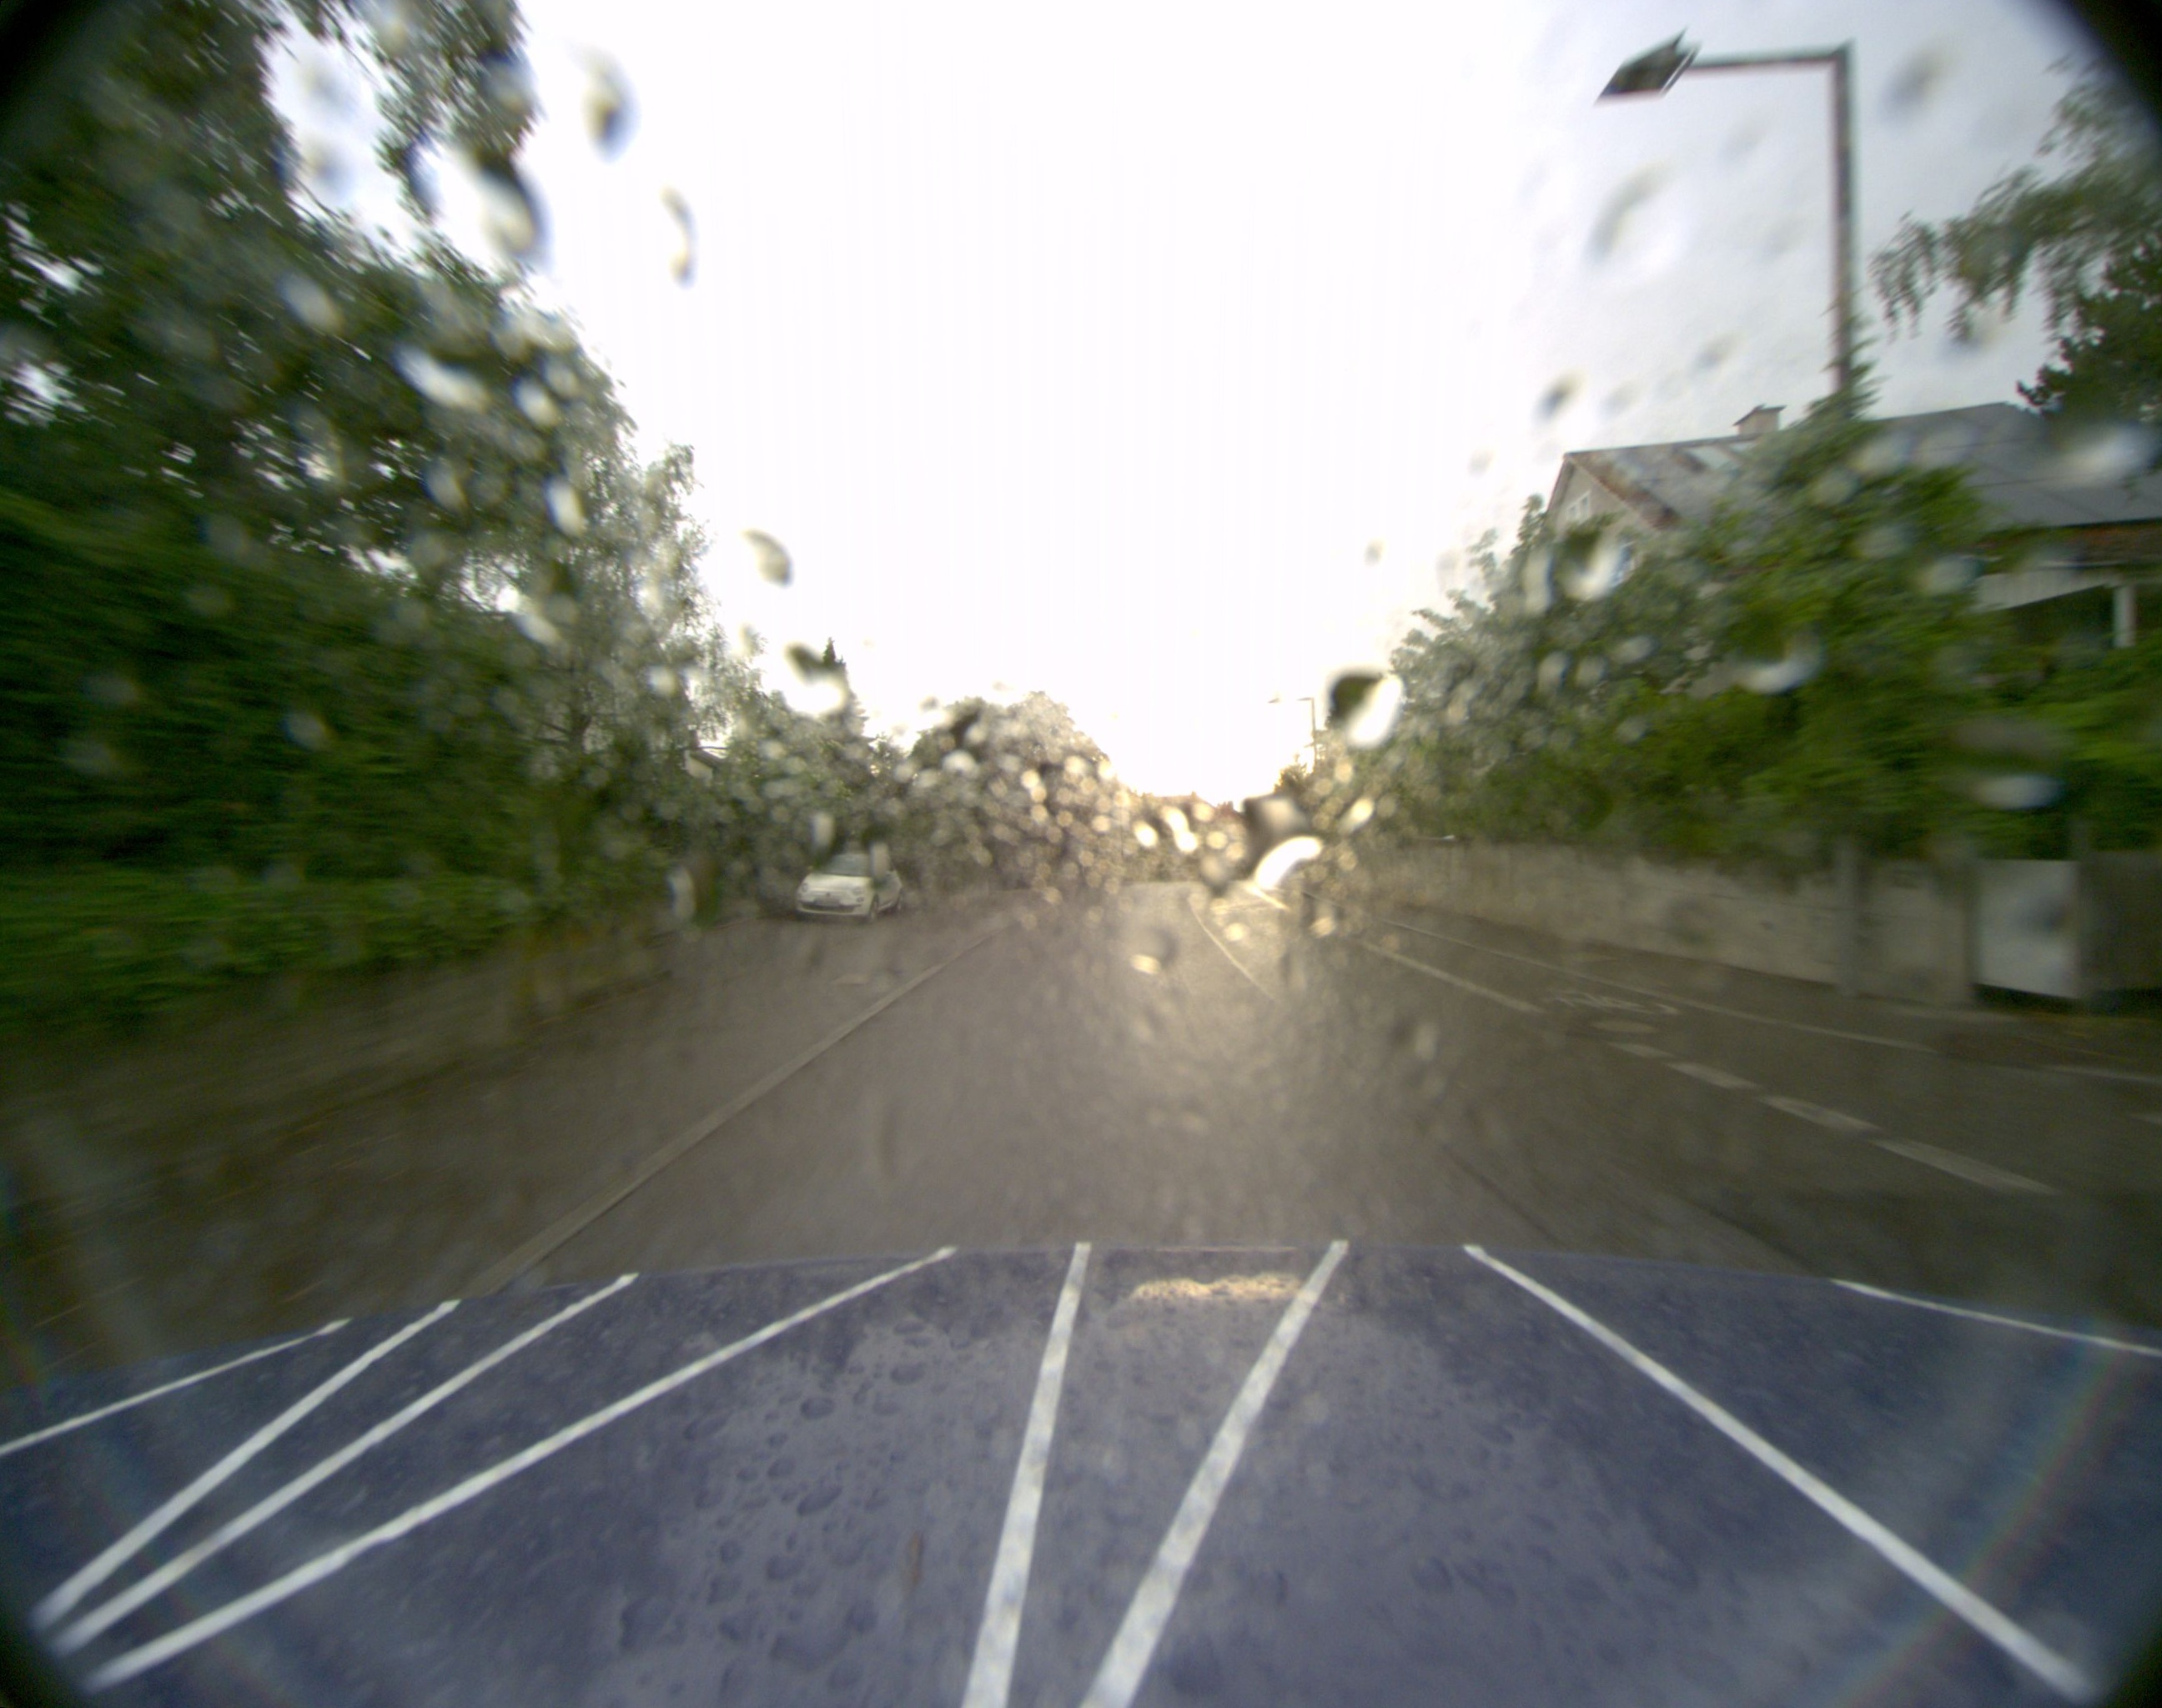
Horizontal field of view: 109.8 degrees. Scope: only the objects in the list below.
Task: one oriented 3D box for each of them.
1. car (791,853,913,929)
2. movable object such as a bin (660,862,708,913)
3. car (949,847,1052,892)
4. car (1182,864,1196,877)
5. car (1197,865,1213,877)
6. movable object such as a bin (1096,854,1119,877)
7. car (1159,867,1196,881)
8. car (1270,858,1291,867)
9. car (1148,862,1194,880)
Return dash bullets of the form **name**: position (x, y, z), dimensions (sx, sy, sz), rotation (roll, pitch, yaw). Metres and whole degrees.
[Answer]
- **car**: position (-5.042, 0.758, 17.245), dimensions (1.535, 1.526, 3.845), rotation (0, 0, 1)
- **movable object such as a bin**: position (-8.496, 0.707, 16.284), dimensions (0.636, 1.004, 0.700), rotation (1, 3, 1)
- **car**: position (-3.679, 0.716, 34.741), dimensions (4.335, 1.706, 1.731), rotation (-5, 0, 28)
- **car**: position (16.086, 2.457, 113.044), dimensions (1.794, 1.584, 4.256), rotation (1, 2, 4)
- **car**: position (18.555, 2.467, 113.485), dimensions (1.723, 1.554, 3.793), rotation (0, 2, 0)
- **movable object such as a bin**: position (1.763, 0.794, 50.397), dimensions (1.245, 1.488, 0.982), rotation (0, -1, -18)
- **car**: position (10.476, 2.151, 82.115), dimensions (3.748, 1.449, 1.727), rotation (-1, -2, 15)
- **car**: position (41.933, 1.794, 159.511), dimensions (3.932, 1.772, 1.770), rotation (0, 2, 1)
- **car**: position (9.143, 1.727, 77.036), dimensions (4.533, 1.650, 1.858), rotation (-1, -2, 10)
